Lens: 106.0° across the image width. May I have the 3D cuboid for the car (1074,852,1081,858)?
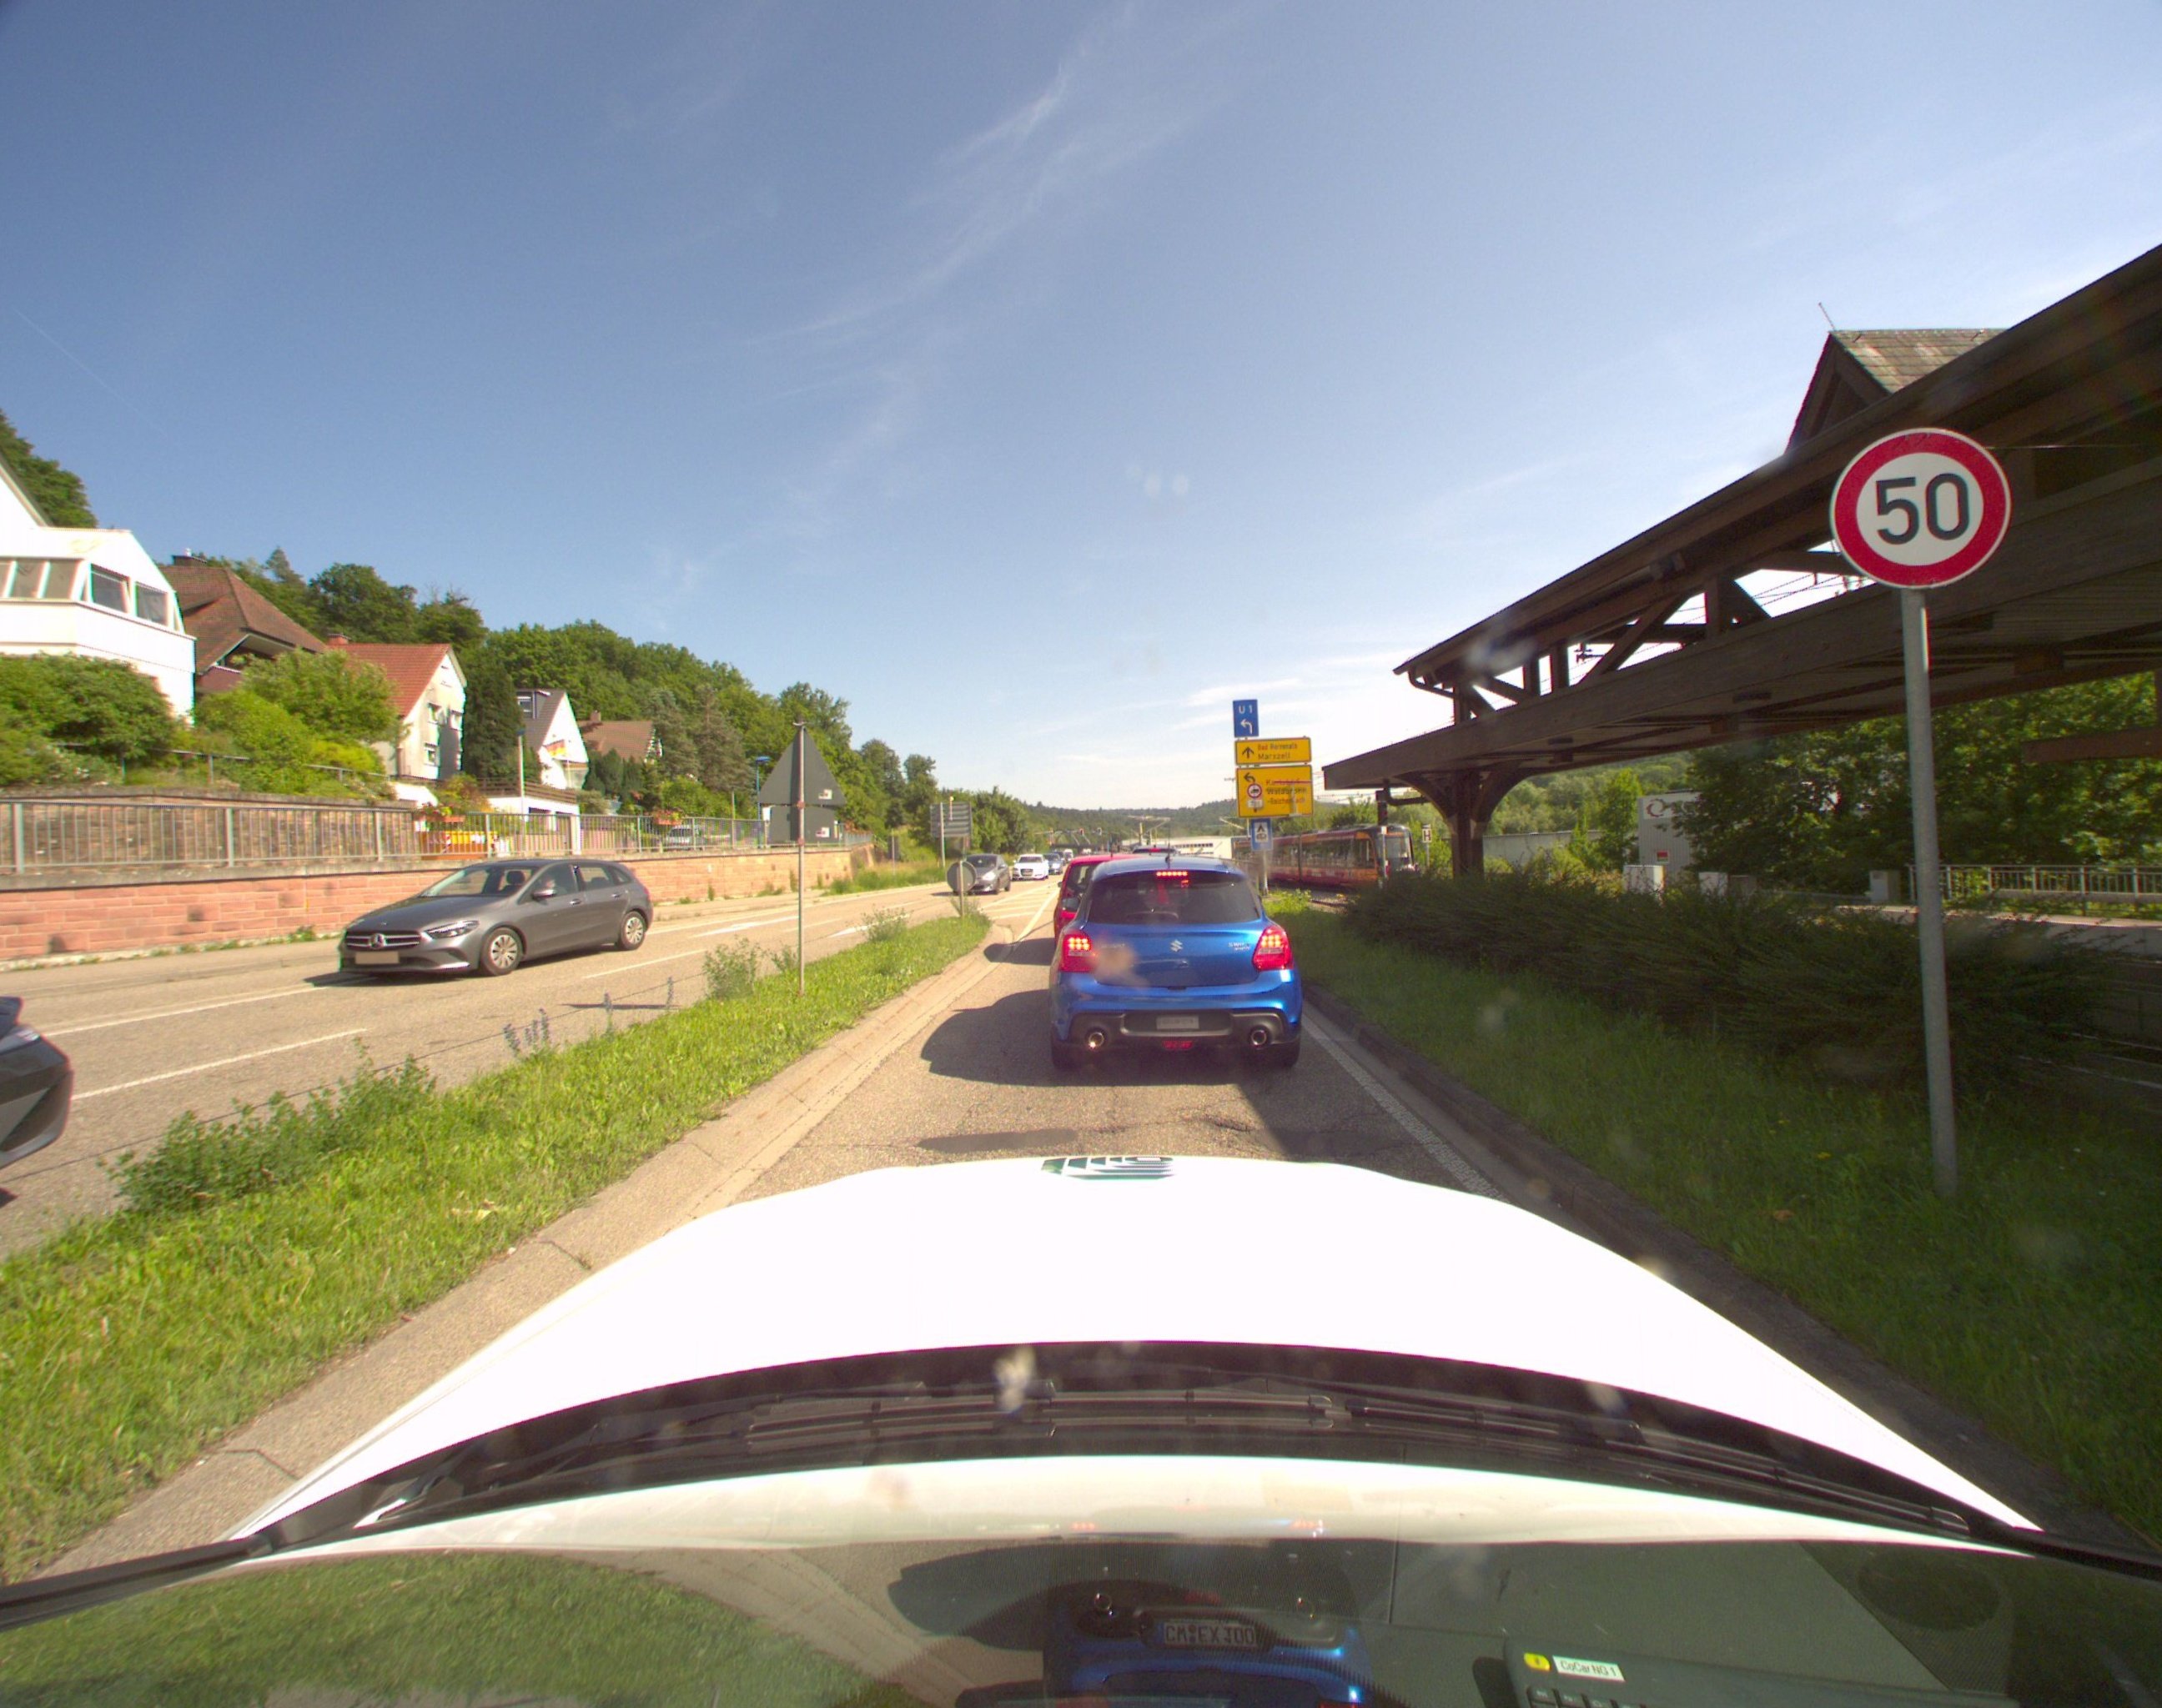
[{"bbox_3d":[-1.089,0.345,250.071,1.986,1.739,4.002,0,1,2],"label":"car"}]

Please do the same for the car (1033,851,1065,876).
[{"bbox_3d":[-2.172,0.637,56.068,1.825,1.468,3.815,1,2,3],"label":"car"}]

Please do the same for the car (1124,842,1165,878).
[{"bbox_3d":[3.202,0.261,41.782,1.985,1.736,4.004,1,0,3],"label":"car"}]

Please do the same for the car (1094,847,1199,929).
[{"bbox_3d":[1.401,0.644,18.076,1.985,1.531,4.606,-2,0,3],"label":"car"}]

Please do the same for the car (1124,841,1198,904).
[{"bbox_3d":[2.280,0.487,24.144,1.985,1.686,4.501,1,0,3],"label":"car"}]

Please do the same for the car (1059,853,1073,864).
[{"bbox_3d":[-1.997,0.558,110.380,1.826,1.431,3.812,0,1,1],"label":"car"}]

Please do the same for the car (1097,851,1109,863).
[{"bbox_3d":[3.898,0.550,142.677,1.986,2.013,4.002,0,1,2],"label":"car"}]

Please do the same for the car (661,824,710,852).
[{"bbox_3d":[-24.469,-0.975,50.493,1.898,1.629,3.981,-1,0,-14],"label":"car"}]

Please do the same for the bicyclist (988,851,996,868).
[{"bbox_3d":[-7.983,0.500,72.930,0.627,1.507,0.506,0,1,-2],"label":"bicyclist"}]

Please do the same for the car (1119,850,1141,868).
[{"bbox_3d":[4.281,0.433,71.191,1.824,1.493,3.815,1,1,4],"label":"car"}]

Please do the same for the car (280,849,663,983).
[{"bbox_3d":[-8.411,0.728,11.929,1.985,1.564,4.514,-1,0,4],"label":"car"}]

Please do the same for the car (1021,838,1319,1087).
[{"bbox_3d":[0.605,0.675,7.149,1.862,1.548,4.001,-1,0,1],"label":"car"}]

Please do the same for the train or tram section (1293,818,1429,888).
[{"bbox_3d":[15.478,-0.069,46.790,2.847,3.365,14.351,-1,0,0],"label":"train or tram section"}]

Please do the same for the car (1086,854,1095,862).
[{"bbox_3d":[2.161,0.920,190.467,1.986,1.816,4.002,0,1,2],"label":"car"}]

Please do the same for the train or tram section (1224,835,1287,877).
[{"bbox_3d":[15.120,0.112,71.645,2.748,3.364,12.042,0,1,-1],"label":"train or tram section"}]

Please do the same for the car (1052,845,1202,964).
[{"bbox_3d":[0.732,0.671,12.820,1.985,1.571,4.004,0,0,3],"label":"car"}]

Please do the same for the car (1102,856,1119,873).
[{"bbox_3d":[3.656,1.259,101.314,1.986,2.013,4.002,0,1,2],"label":"car"}]

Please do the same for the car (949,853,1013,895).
[{"bbox_3d":[-3.618,0.699,30.170,1.665,1.441,3.843,-1,0,3],"label":"car"}]

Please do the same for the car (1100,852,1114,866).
[{"bbox_3d":[3.873,0.764,122.093,1.986,2.013,4.002,0,1,2],"label":"car"}]

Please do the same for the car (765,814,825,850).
[{"bbox_3d":[-16.111,-1.238,46.119,2.017,1.920,4.724,0,1,-5],"label":"car"}]

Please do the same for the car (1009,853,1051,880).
[{"bbox_3d":[-2.738,0.650,44.837,1.825,1.369,3.953,0,1,3],"label":"car"}]

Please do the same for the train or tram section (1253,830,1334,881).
[{"bbox_3d":[15.302,0.134,59.766,2.777,3.364,12.045,0,0,0],"label":"train or tram section"}]

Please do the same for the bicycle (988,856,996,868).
[{"bbox_3d":[-8.001,0.724,72.957,0.564,1.043,1.551,0,1,-1],"label":"bicycle"}]

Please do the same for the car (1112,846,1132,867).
[{"bbox_3d":[4.243,0.258,84.011,1.986,2.013,4.002,0,1,2],"label":"car"}]

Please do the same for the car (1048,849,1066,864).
[{"bbox_3d":[-2.784,0.281,96.067,1.825,1.713,3.814,1,1,3],"label":"car"}]

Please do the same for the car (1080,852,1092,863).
[{"bbox_3d":[0.831,0.628,140.293,1.986,1.783,4.002,0,0,2],"label":"car"}]

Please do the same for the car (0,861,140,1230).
[{"bbox_3d":[-5.202,0.792,1.366,1.786,1.470,4.714,-1,0,-1],"label":"car"}]

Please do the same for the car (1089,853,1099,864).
[{"bbox_3d":[2.741,0.946,168.110,1.986,2.013,4.002,0,1,2],"label":"car"}]
